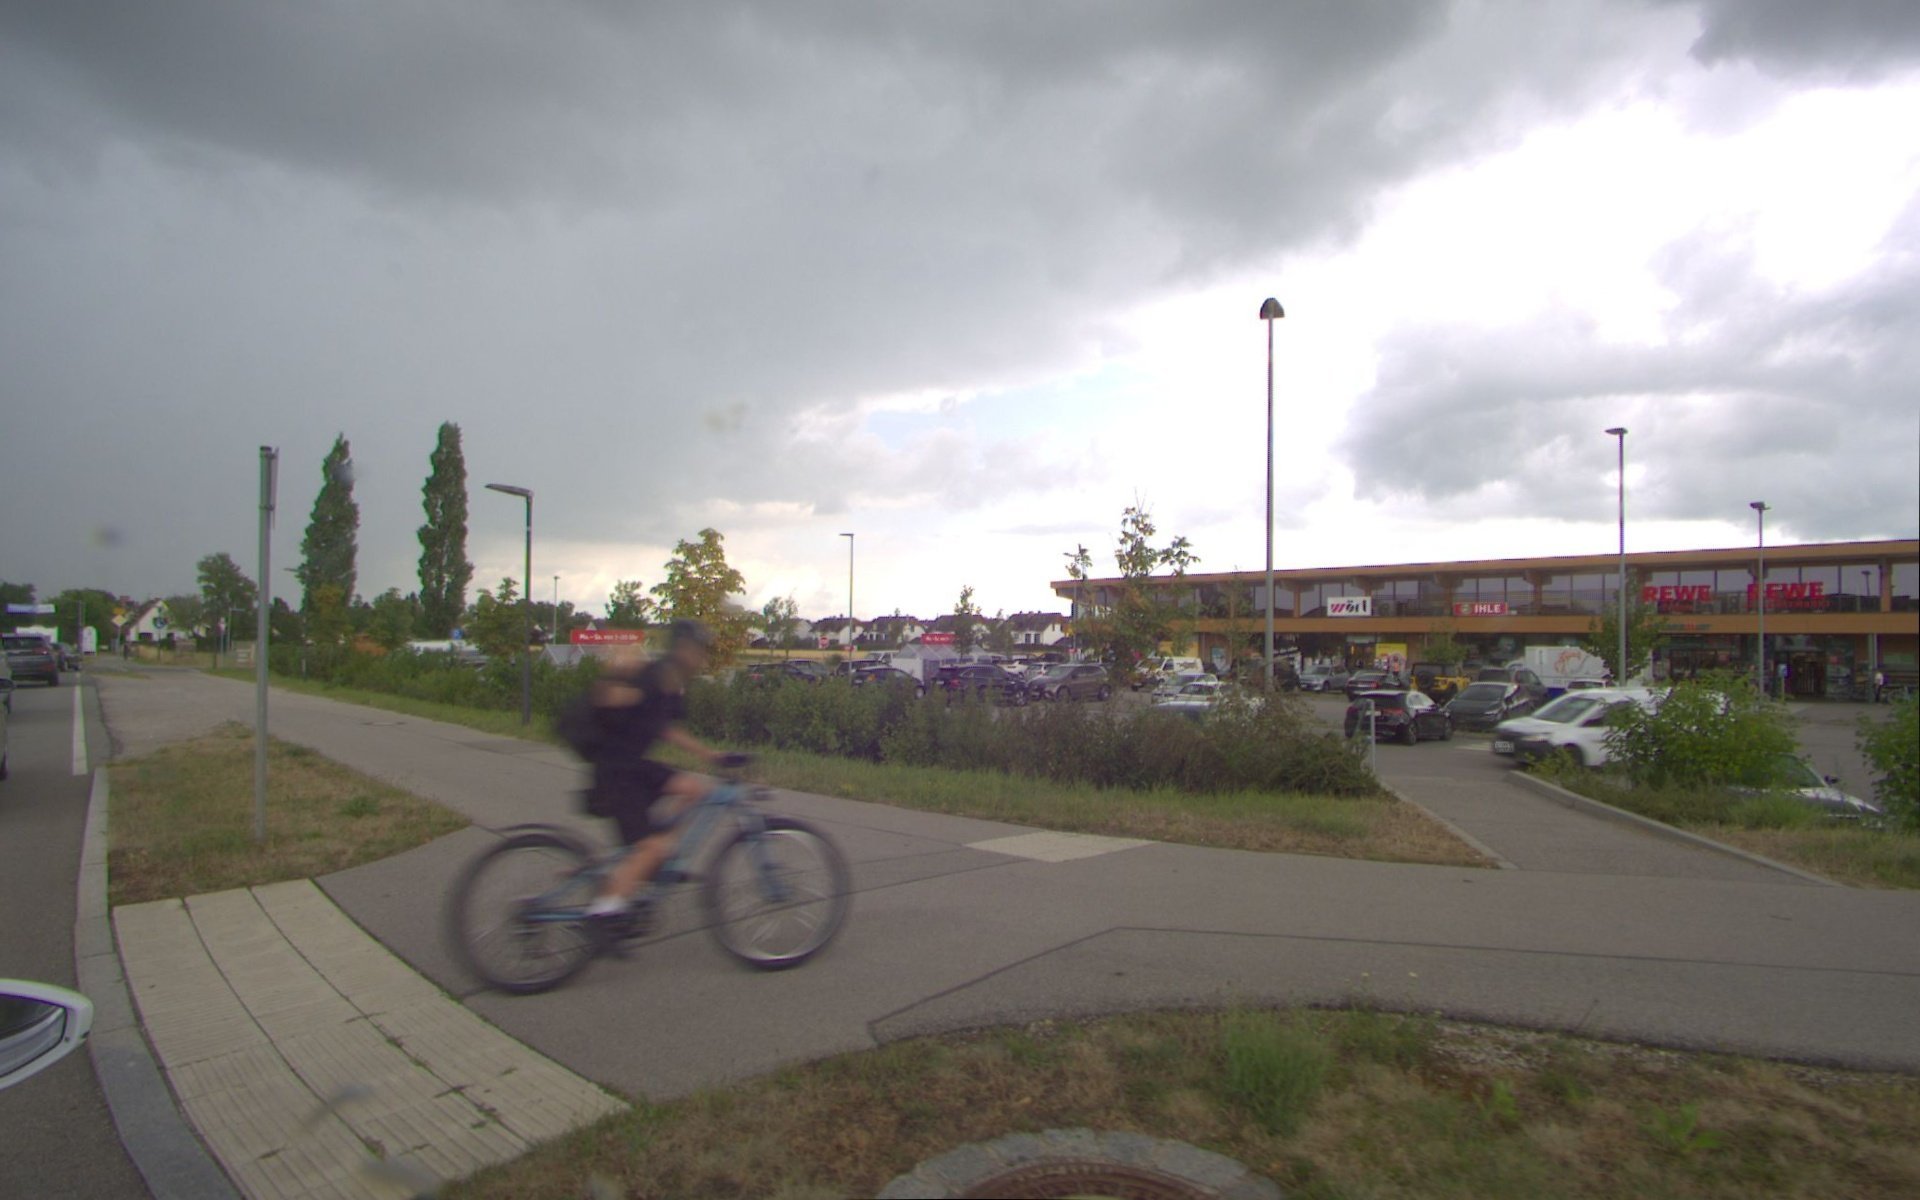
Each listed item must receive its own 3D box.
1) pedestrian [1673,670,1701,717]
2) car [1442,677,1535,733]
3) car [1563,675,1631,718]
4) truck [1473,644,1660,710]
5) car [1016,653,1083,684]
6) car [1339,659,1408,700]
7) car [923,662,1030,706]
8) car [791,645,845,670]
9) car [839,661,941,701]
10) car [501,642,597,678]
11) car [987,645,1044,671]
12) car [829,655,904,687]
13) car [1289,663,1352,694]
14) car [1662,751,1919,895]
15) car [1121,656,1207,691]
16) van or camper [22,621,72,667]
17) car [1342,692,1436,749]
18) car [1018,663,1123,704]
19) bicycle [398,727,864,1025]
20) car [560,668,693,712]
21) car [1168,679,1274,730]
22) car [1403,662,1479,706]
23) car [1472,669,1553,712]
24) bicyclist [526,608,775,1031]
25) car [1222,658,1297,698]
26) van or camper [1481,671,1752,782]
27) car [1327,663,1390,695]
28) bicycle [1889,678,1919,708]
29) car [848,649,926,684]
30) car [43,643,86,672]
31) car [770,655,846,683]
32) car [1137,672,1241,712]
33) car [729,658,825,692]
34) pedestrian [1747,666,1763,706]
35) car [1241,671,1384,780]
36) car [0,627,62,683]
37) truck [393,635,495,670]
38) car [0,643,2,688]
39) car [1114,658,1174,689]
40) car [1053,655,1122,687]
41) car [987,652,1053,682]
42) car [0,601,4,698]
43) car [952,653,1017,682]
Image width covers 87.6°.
[{"bbox_3d":[32.087,4.110,44.197,0.921,2.039,0.800,-1,-2,40],"label":"pedestrian"},{"bbox_3d":[16.902,3.291,31.939,1.713,1.572,3.968,-1,-3,42],"label":"car"},{"bbox_3d":[25.921,3.864,40.694,1.713,1.549,3.968,-1,-3,42],"label":"car"},{"bbox_3d":[28.720,3.556,47.651,7.182,2.842,2.951,-2,-3,44],"label":"truck"},{"bbox_3d":[5.622,4.309,62.767,3.957,1.860,1.984,3,-4,-39],"label":"car"},{"bbox_3d":[19.763,3.753,47.811,1.754,1.878,3.966,-1,-3,43],"label":"car"},{"bbox_3d":[0.720,3.445,41.321,4.422,1.727,1.787,4,-4,-42],"label":"car"},{"bbox_3d":[-11.734,4.782,82.894,3.957,1.859,1.985,6,-5,-38],"label":"car"},{"bbox_3d":[-3.168,3.677,45.997,4.374,1.685,1.982,3,-3,-42],"label":"car"},{"bbox_3d":[-20.073,2.948,48.994,3.896,1.704,1.909,4,-4,-44],"label":"car"},{"bbox_3d":[4.096,4.237,73.910,3.954,1.863,1.860,2,-3,-38],"label":"car"},{"bbox_3d":[-5.222,3.977,56.276,3.961,1.727,1.700,4,-4,-42],"label":"car"},{"bbox_3d":[19.996,4.340,55.463,1.750,1.632,4.189,-2,-4,44],"label":"car"},{"bbox_3d":[11.664,3.001,14.061,1.551,1.389,3.734,0,-3,11],"label":"car"},{"bbox_3d":[11.360,4.081,55.629,5.251,1.853,1.983,4,-4,-42],"label":"car"},{"bbox_3d":[-69.487,3.424,76.295,2.607,3.364,6.762,3,-4,-42],"label":"van or camper"},{"bbox_3d":[12.090,3.341,28.098,1.810,1.414,3.984,0,-5,33],"label":"car"},{"bbox_3d":[5.021,3.692,45.024,4.941,1.685,1.982,3,-3,-42],"label":"car"},{"bbox_3d":[-1.263,1.046,4.047,1.683,0.958,0.496,0,-1,-16],"label":"bicycle"},{"bbox_3d":[-12.141,3.249,36.595,4.204,1.458,1.982,3,-3,-42],"label":"car"},{"bbox_3d":[8.562,3.360,32.710,1.665,1.503,3.963,-2,-4,43],"label":"car"},{"bbox_3d":[21.891,3.786,45.498,3.961,1.877,1.757,4,-4,-42],"label":"car"},{"bbox_3d":[23.624,3.832,42.756,4.081,1.745,1.835,4,-5,-43],"label":"car"},{"bbox_3d":[-1.196,0.772,3.943,0.854,1.465,0.723,0,-1,-16],"label":"bicyclist"},{"bbox_3d":[15.561,4.046,51.915,3.963,1.859,1.982,6,-6,-42],"label":"car"},{"bbox_3d":[14.254,2.726,21.940,4.712,2.125,1.765,1,-1,1],"label":"van or camper"},{"bbox_3d":[21.492,4.229,53.912,3.859,1.674,1.750,4,-4,-45],"label":"car"},{"bbox_3d":[44.479,4.274,45.814,0.970,1.325,2.843,2,-3,-43],"label":"bicycle"},{"bbox_3d":[-4.490,4.109,62.391,1.975,2.039,5.091,0,-2,37],"label":"car"},{"bbox_3d":[-43.766,2.810,48.986,1.429,1.389,3.483,3,-4,-41],"label":"car"},{"bbox_3d":[-9.175,4.176,60.665,4.280,1.597,1.753,3,-3,-40],"label":"car"},{"bbox_3d":[9.527,3.758,41.448,4.742,1.503,1.887,3,-3,-43],"label":"car"},{"bbox_3d":[-9.470,3.861,52.073,4.525,1.685,1.982,3,-3,-42],"label":"car"},{"bbox_3d":[39.829,4.300,50.172,0.573,1.973,0.520,2,-2,-43],"label":"pedestrian"},{"bbox_3d":[4.725,1.656,13.834,1.550,1.221,3.756,1,-5,15],"label":"car"},{"bbox_3d":[-29.182,1.675,31.108,1.764,1.638,3.966,2,-3,-41],"label":"car"},{"bbox_3d":[-29.242,3.000,56.858,1.979,1.895,4.771,-2,-4,44],"label":"truck"},{"bbox_3d":[-9.282,1.055,8.364,1.773,1.409,4.094,3,-4,-43],"label":"car"},{"bbox_3d":[11.873,4.718,64.474,4.076,1.917,1.781,4,-4,-43],"label":"car"},{"bbox_3d":[7.725,4.255,60.550,3.954,1.861,1.985,3,-3,-38],"label":"car"},{"bbox_3d":[3.924,4.319,64.863,3.954,1.861,1.985,2,-3,-38],"label":"car"},{"bbox_3d":[-17.549,1.015,16.974,1.856,1.958,3.962,3,-4,-43],"label":"car"},{"bbox_3d":[1.645,4.485,66.763,3.955,1.860,1.985,3,-3,-39],"label":"car"}]
